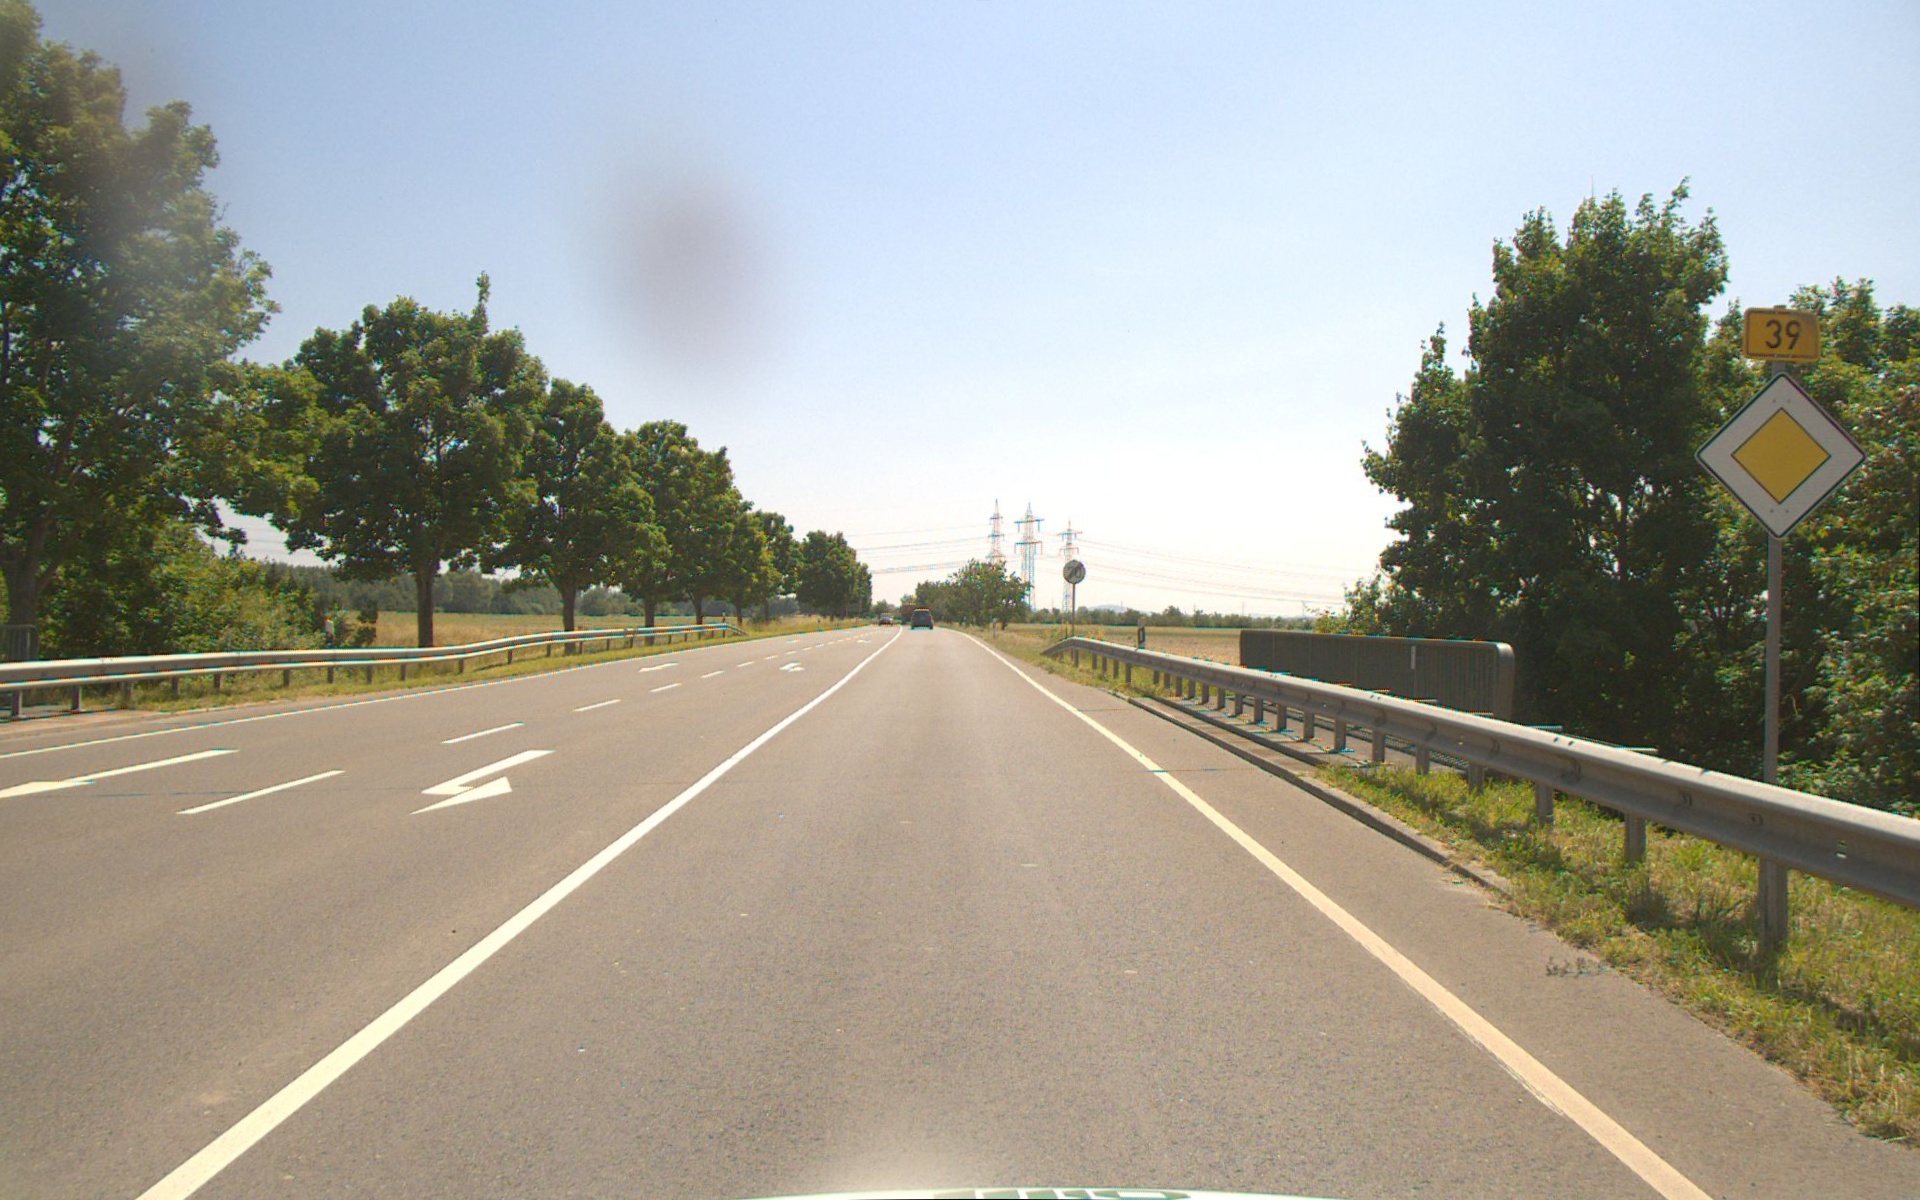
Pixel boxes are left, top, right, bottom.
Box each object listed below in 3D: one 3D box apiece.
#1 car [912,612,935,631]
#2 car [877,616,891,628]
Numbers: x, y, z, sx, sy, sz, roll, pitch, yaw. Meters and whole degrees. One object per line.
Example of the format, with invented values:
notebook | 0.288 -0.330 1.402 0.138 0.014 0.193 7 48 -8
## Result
car | -3.179 1.873 142.665 1.847 1.544 4.037 3 -1 -3
car | -9.316 2.718 203.754 1.704 1.499 4.615 0 -1 -3
